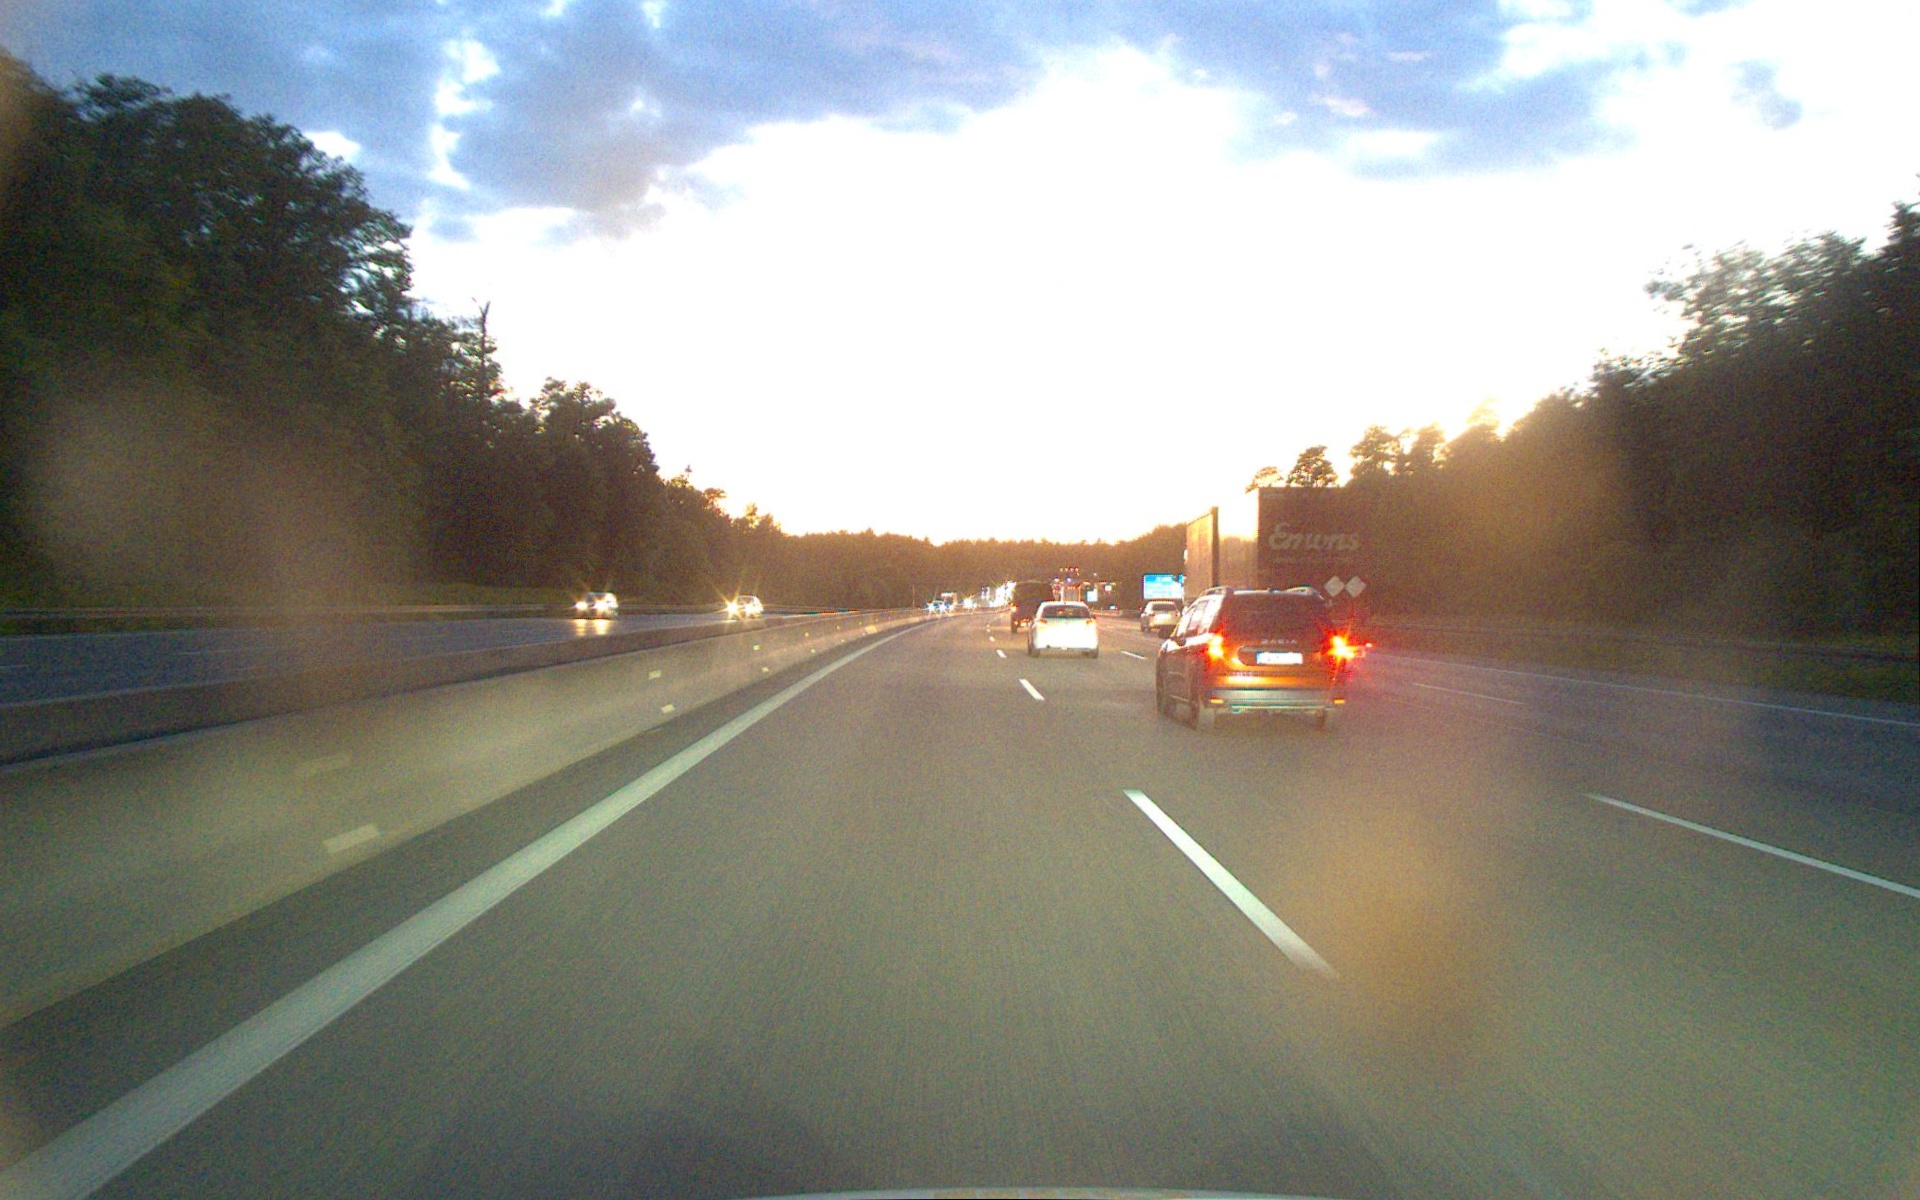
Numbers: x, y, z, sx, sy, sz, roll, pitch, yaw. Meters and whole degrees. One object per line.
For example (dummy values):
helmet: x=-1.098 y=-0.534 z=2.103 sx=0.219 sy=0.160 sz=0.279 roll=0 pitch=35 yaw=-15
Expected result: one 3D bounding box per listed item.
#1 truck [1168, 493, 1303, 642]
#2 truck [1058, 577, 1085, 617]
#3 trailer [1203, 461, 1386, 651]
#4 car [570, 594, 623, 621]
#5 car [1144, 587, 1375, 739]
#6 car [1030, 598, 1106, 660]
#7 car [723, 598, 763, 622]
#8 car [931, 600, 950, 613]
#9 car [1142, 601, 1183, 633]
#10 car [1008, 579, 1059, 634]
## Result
truck: x=8.458 y=-0.880 z=52.101 sx=2.825 sy=4.172 sz=10.834 roll=0 pitch=0 yaw=2
truck: x=16.991 y=-0.411 z=252.249 sx=4.062 sy=5.959 sz=14.302 roll=0 pitch=0 yaw=4
trailer: x=8.121 y=-0.933 z=41.533 sx=2.847 sy=4.172 sz=10.360 roll=0 pitch=0 yaw=2
car: x=-21.215 y=0.423 z=96.649 sx=1.803 sy=1.489 sz=4.003 roll=2 pitch=1 yaw=7
car: x=3.575 y=0.676 z=20.725 sx=1.864 sy=1.672 sz=5.051 roll=0 pitch=0 yaw=-1
car: x=2.817 y=0.743 z=43.735 sx=1.821 sy=1.467 sz=3.721 roll=0 pitch=2 yaw=1
car: x=-14.041 y=0.629 z=107.289 sx=1.804 sy=1.489 sz=4.777 roll=2 pitch=1 yaw=2
car: x=-2.538 y=0.857 z=215.204 sx=1.952 sy=1.667 sz=5.113 roll=1 pitch=0 yaw=4
car: x=10.368 y=0.871 z=84.886 sx=1.965 sy=1.565 sz=4.002 roll=0 pitch=0 yaw=5
car: x=3.482 y=0.310 z=77.377 sx=2.120 sy=2.461 sz=5.567 roll=0 pitch=0 yaw=5
